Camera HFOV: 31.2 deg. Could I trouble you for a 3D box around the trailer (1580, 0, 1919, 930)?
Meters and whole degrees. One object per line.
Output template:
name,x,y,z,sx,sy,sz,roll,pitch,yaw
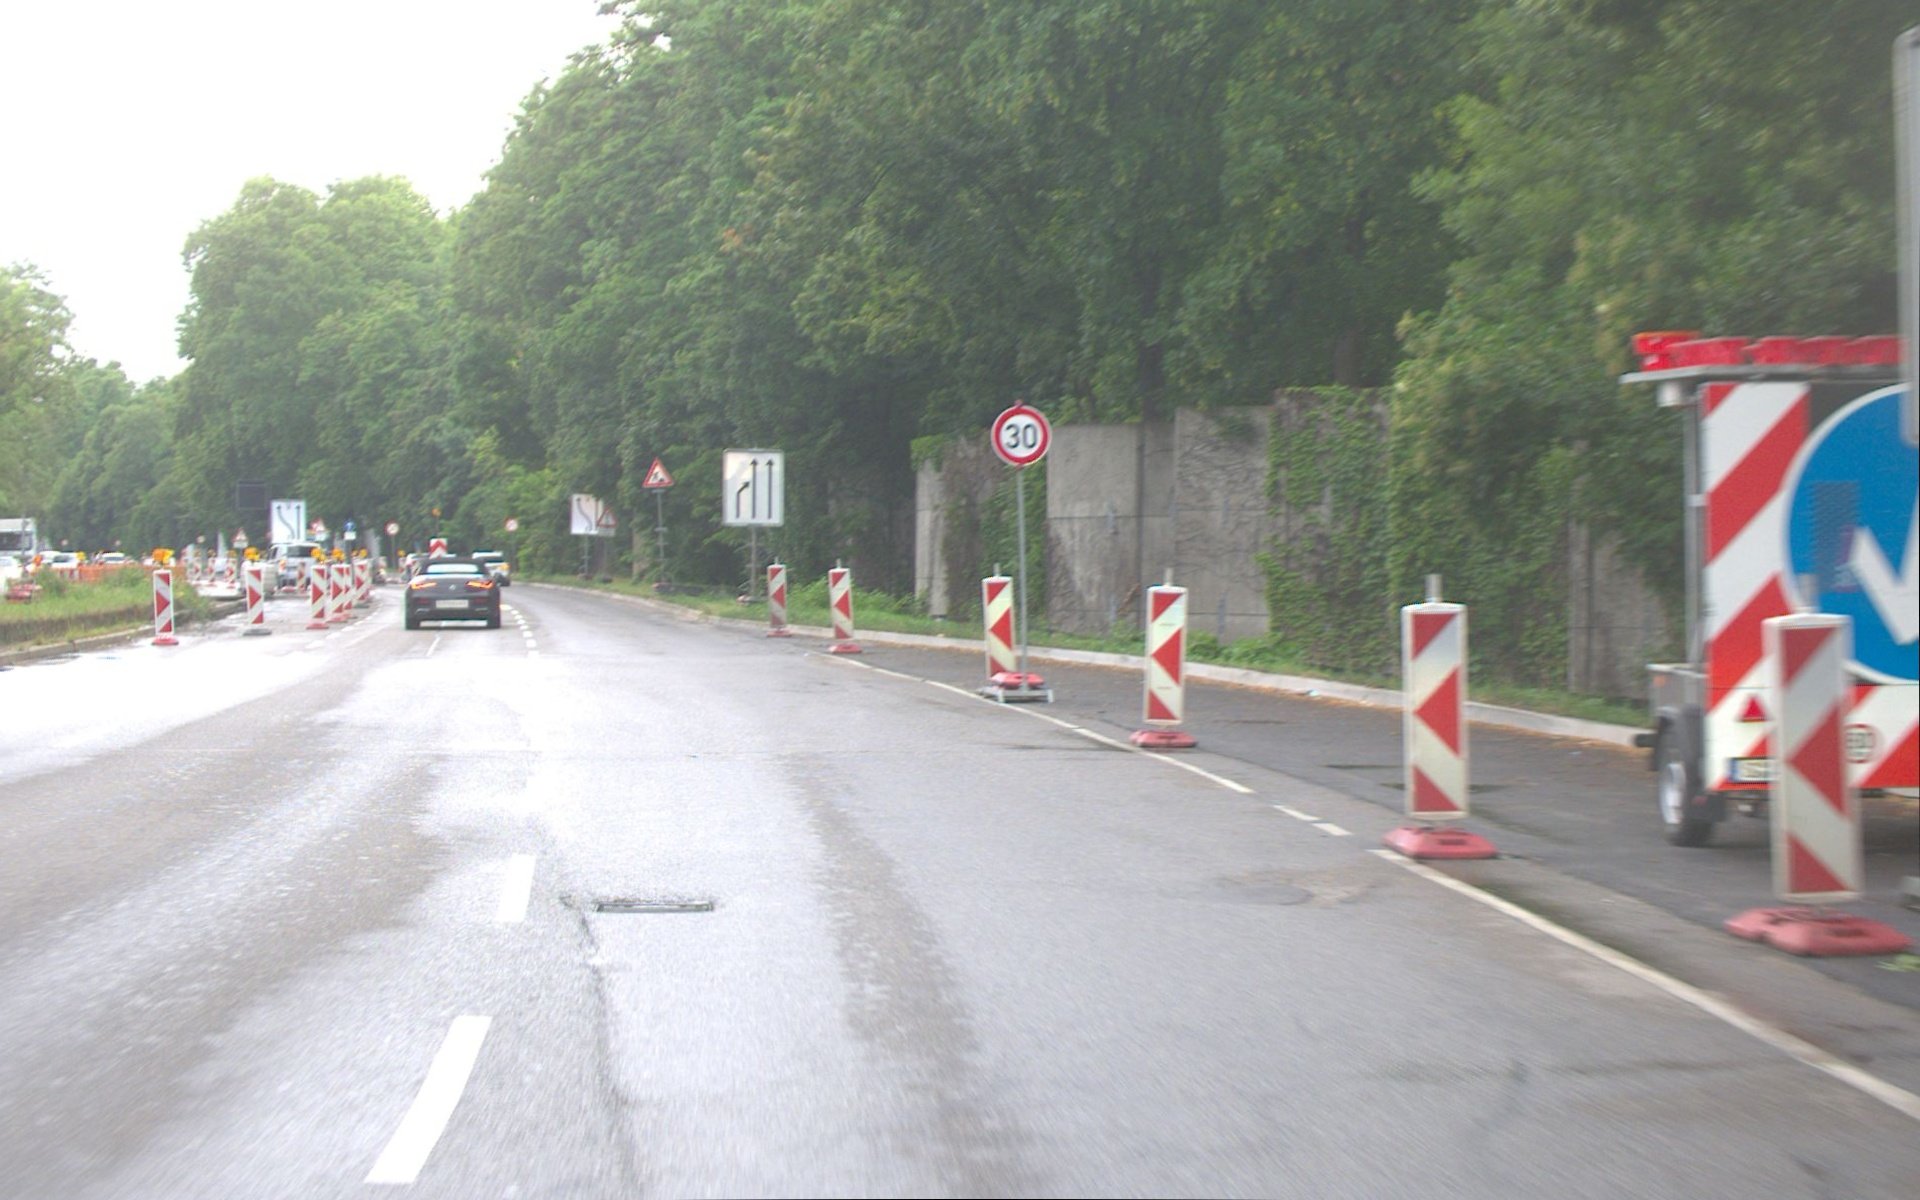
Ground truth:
trailer,4.652,-0.561,16.020,2.307,3.577,5.960,-1,0,-1

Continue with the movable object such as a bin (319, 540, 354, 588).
movable object such as a bin,-37.510,-2.146,206.655,1.746,2.857,3.535,-1,0,-15

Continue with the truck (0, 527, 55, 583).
truck,-54.968,-2.605,201.548,2.795,3.137,10.150,0,0,-9

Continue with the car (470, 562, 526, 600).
car,-19.729,-0.825,146.694,1.913,1.592,4.835,0,1,-13

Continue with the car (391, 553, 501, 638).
car,-10.149,-0.117,68.109,1.862,1.486,4.001,1,2,-5

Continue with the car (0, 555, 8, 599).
car,-39.915,-0.924,139.573,1.913,1.775,4.835,0,1,-9
